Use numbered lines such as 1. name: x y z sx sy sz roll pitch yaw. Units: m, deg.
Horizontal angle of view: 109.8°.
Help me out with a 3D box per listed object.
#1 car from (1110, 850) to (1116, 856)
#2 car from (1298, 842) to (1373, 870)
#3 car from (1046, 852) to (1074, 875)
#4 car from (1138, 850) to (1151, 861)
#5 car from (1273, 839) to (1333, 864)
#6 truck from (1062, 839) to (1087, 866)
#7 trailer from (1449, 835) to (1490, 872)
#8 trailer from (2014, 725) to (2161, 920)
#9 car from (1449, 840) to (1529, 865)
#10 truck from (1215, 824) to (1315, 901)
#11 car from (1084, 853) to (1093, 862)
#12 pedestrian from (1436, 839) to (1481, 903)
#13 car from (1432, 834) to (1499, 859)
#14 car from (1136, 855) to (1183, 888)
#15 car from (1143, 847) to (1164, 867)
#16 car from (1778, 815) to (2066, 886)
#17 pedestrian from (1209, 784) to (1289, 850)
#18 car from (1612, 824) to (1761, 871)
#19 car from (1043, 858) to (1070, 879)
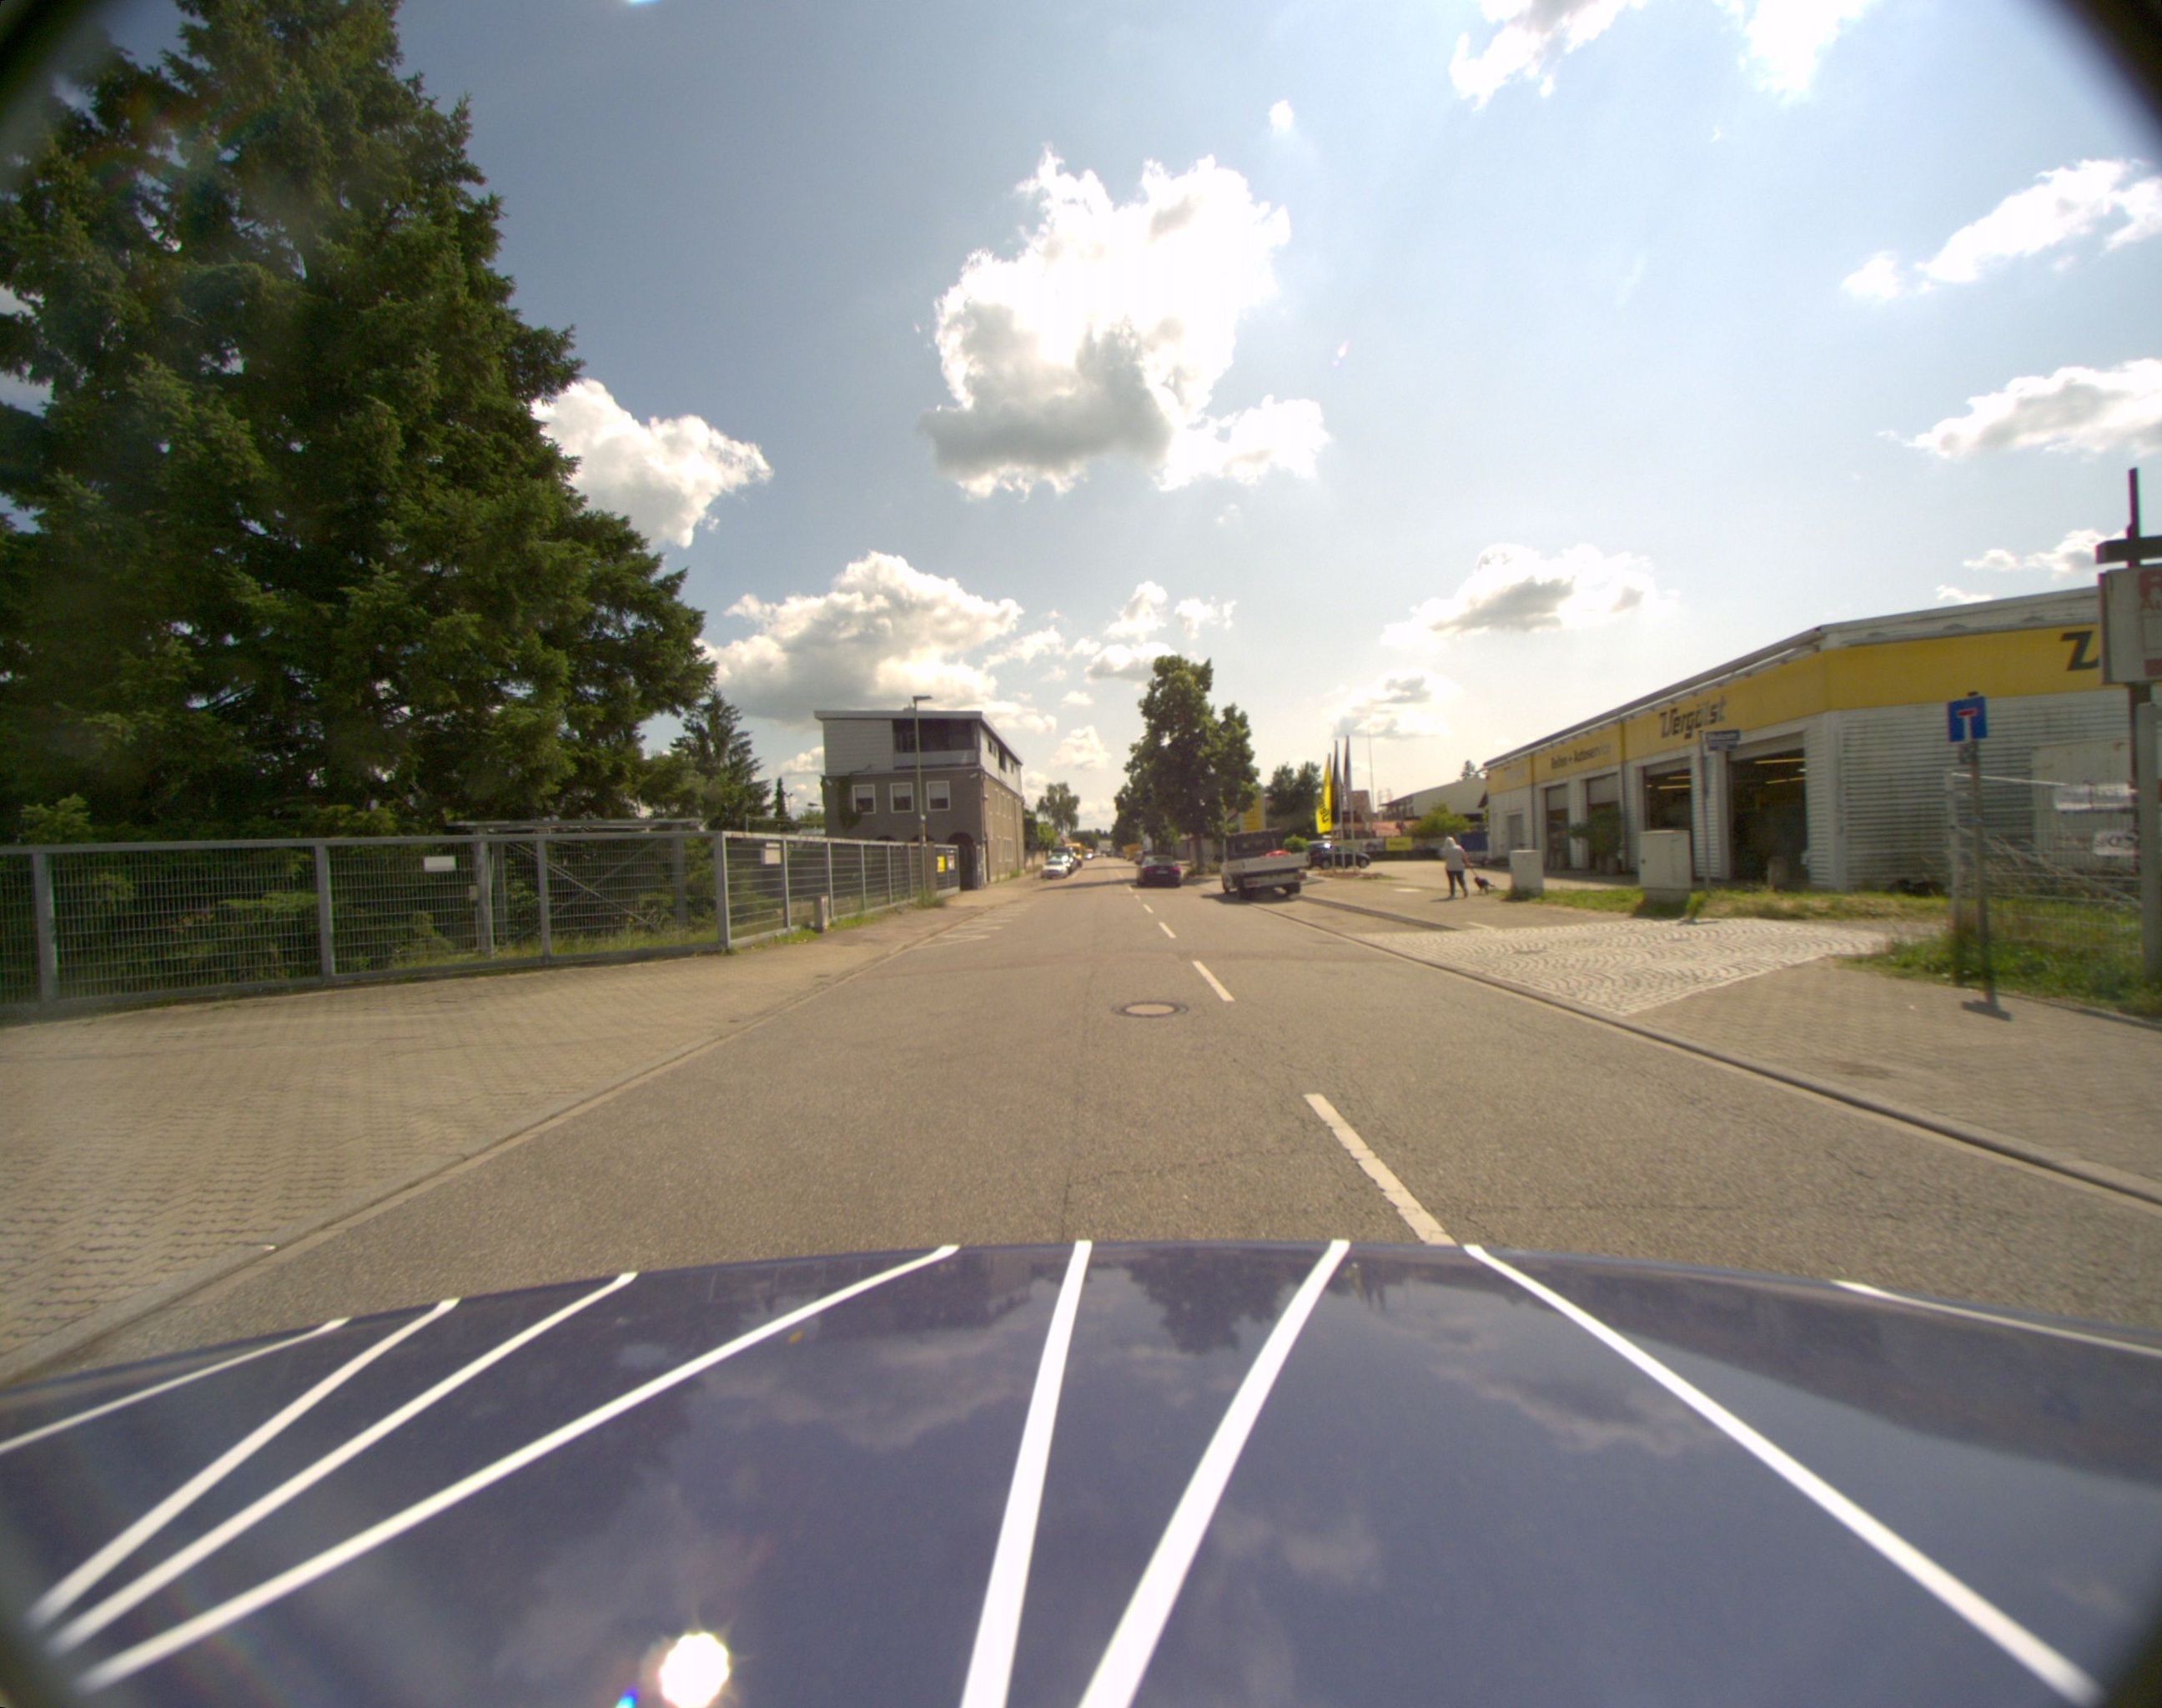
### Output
1. car: 10.986 -0.440 258.106 1.998 2.002 4.001 -2 0 3
2. car: 14.851 0.108 44.358 3.847 1.406 1.857 -4 1 -21
3. car: -1.625 0.753 60.345 1.999 1.677 4.000 -2 0 0
4. car: 8.708 0.208 103.946 1.655 1.432 3.314 -2 0 8
5. car: 16.692 -0.160 57.254 4.093 1.703 1.680 -2 0 10
6. truck: -0.682 -0.157 86.014 2.402 2.787 6.375 -2 0 3
7. trailer: 18.959 -0.062 37.181 1.268 1.682 2.972 -3 1 18
8. trailer: 19.136 -0.600 11.151 6.527 2.835 2.761 -2 0 12
9. car: 26.107 -0.103 48.770 4.275 1.474 1.672 -2 1 15
10. truck: 6.377 0.265 27.287 2.133 2.225 7.351 -5 0 4
11. car: 1.757 0.815 178.584 1.998 2.002 4.001 -2 0 3
12. pedestrian: 9.398 0.424 18.941 0.661 1.536 0.918 -2 0 2
13. car: 27.823 -0.564 55.156 3.993 1.600 1.852 -2 0 14
14. car: 3.610 0.784 35.725 1.789 1.430 4.309 1 0 0
15. car: 8.905 0.339 92.922 1.997 2.289 4.003 -2 0 11
16. car: 19.102 -0.059 17.495 3.993 1.392 1.981 -2 0 14
17. pedestrian: 5.753 -1.224 26.499 1.998 2.002 4.000 -3 1 3
18. car: 20.810 -0.227 26.278 3.577 1.428 1.792 -2 0 14
19. car: -1.672 1.019 53.574 1.657 1.324 4.000 -2 0 1
